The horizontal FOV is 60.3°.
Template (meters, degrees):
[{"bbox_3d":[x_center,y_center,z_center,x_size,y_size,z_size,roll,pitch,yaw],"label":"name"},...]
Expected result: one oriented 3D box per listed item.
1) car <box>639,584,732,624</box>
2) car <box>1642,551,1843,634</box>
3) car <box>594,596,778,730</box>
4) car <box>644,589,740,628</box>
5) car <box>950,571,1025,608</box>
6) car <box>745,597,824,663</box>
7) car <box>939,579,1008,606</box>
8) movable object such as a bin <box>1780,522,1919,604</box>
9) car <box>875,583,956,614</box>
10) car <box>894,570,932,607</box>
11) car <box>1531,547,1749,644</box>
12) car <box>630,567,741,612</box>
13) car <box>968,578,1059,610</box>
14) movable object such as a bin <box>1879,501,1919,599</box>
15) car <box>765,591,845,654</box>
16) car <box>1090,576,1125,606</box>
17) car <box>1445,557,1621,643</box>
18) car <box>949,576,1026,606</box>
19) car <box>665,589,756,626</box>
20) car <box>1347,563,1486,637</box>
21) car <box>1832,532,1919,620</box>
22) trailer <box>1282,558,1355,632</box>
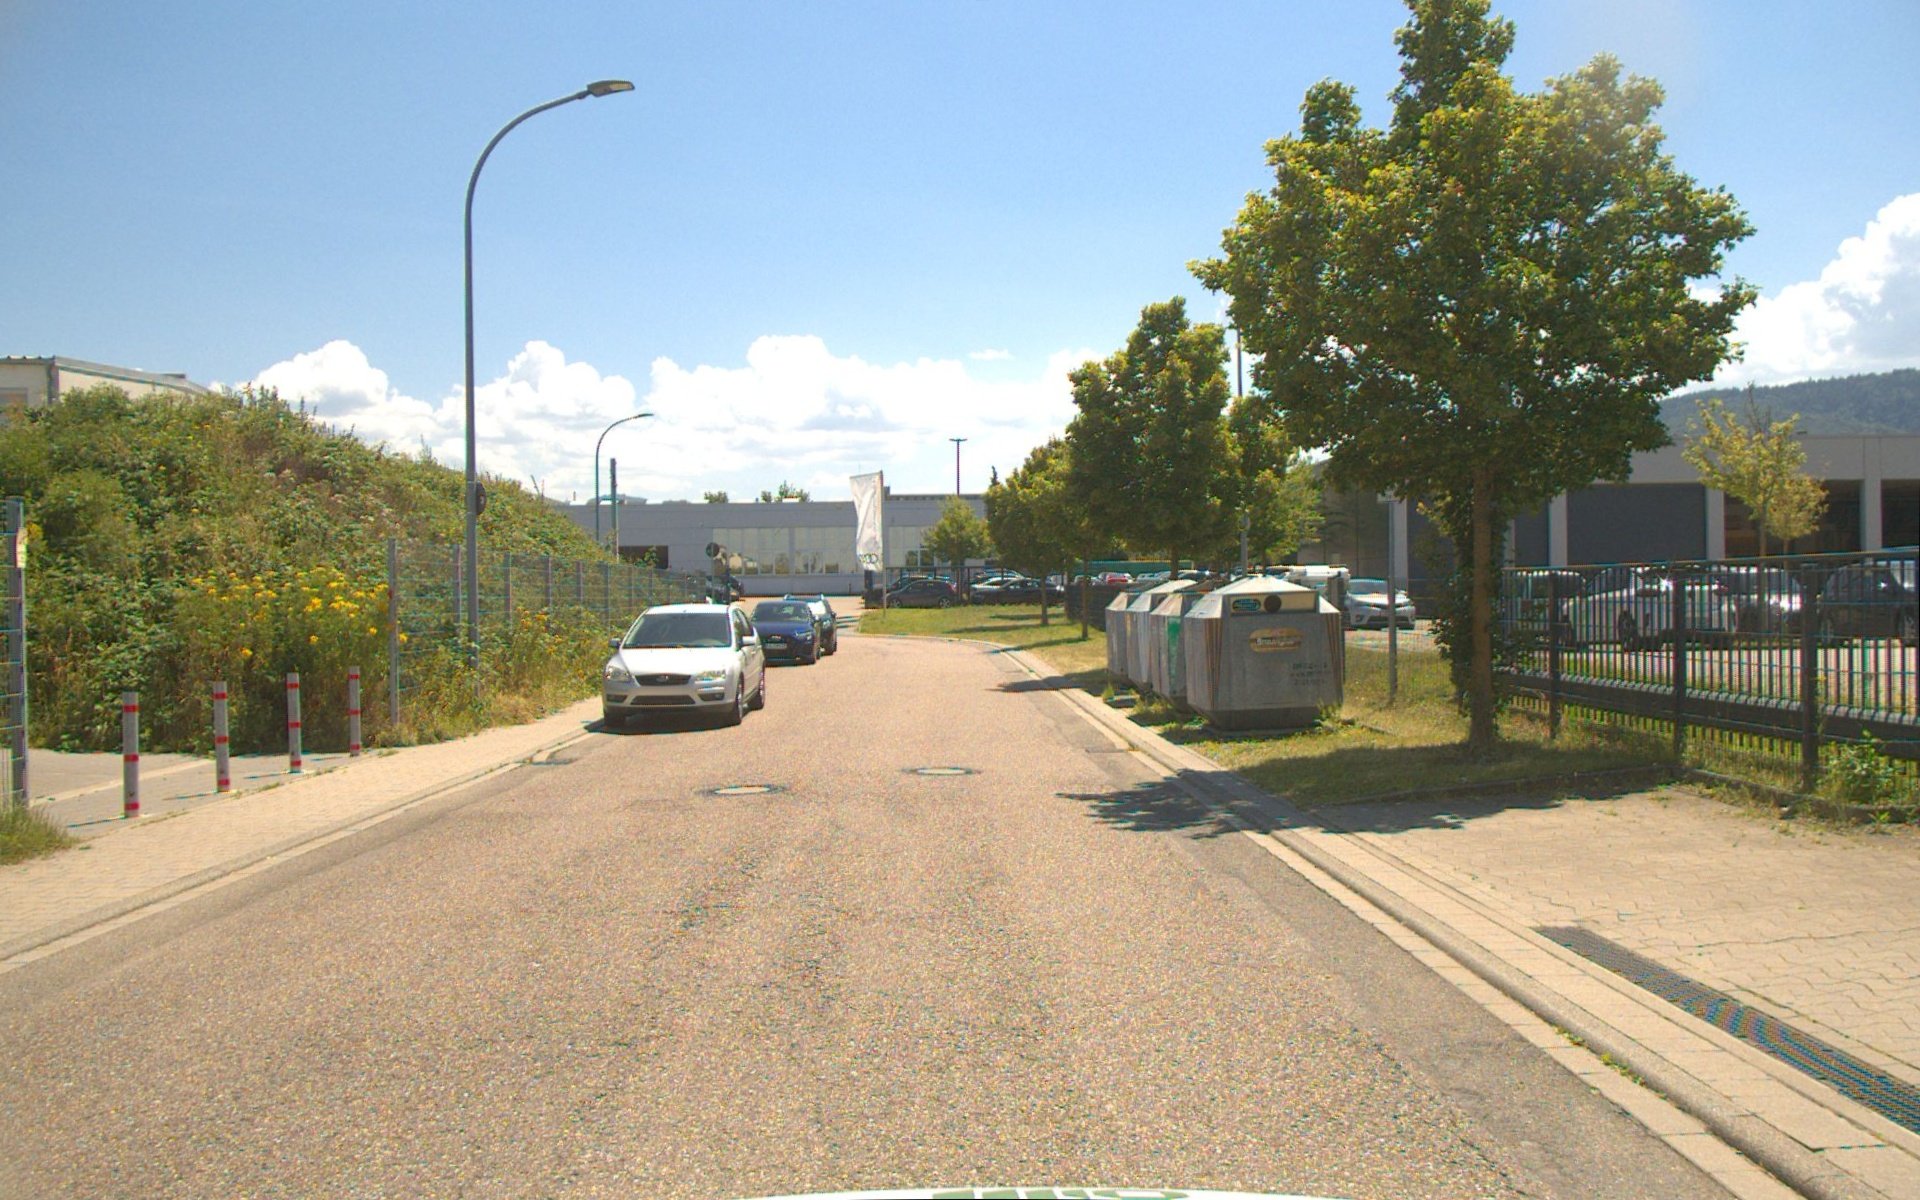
[{"bbox_3d":[-14.150,0.192,85.431,4.494,1.956,1.999,-1,0,-2],"label":"car"},{"bbox_3d":[15.653,-0.203,33.352,1.754,1.507,4.419,-1,2,-3],"label":"car"},{"bbox_3d":[-3.569,0.762,22.296,1.796,1.573,4.366,-1,0,-1],"label":"car"},{"bbox_3d":[-14.260,0.435,88.139,4.785,1.956,1.999,-1,0,-2],"label":"car"},{"bbox_3d":[1.482,-0.559,90.209,3.907,1.859,1.998,-1,-2,-3],"label":"car"},{"bbox_3d":[-4.136,0.679,39.438,1.623,1.442,4.143,-1,0,-3],"label":"car"},{"bbox_3d":[0.758,-0.417,95.516,3.907,1.423,1.998,-1,-2,-3],"label":"car"},{"bbox_3d":[36.550,-1.459,66.263,3.470,3.046,7.316,-1,1,-3],"label":"movable object such as a bin"},{"bbox_3d":[-2.217,-0.067,81.836,3.907,1.423,1.998,-1,-2,-3],"label":"car"},{"bbox_3d":[-2.642,-0.613,91.744,1.954,1.859,3.997,-1,-2,-3],"label":"car"},{"bbox_3d":[11.359,-0.019,27.941,1.754,1.458,4.139,-1,-2,-3],"label":"car"},{"bbox_3d":[-13.735,-0.541,82.842,5.211,2.134,1.999,-1,0,-2],"label":"car"},{"bbox_3d":[2.619,-0.282,81.829,4.350,1.423,1.998,-1,-2,-3],"label":"car"},{"bbox_3d":[41.281,-2.080,66.481,3.470,4.043,8.662,-1,0,-3],"label":"movable object such as a bin"},{"bbox_3d":[-4.132,0.568,44.615,1.796,1.573,4.263,-1,0,-1],"label":"car"},{"bbox_3d":[10.169,-0.604,114.156,1.953,1.859,3.998,-1,-2,-2],"label":"car"},{"bbox_3d":[11.326,-0.058,33.018,1.754,1.557,4.419,-1,2,-3],"label":"car"},{"bbox_3d":[1.425,-0.450,86.609,3.907,1.423,1.998,-1,-2,-3],"label":"car"},{"bbox_3d":[-13.898,0.392,92.273,4.785,1.956,1.999,-1,0,-2],"label":"car"},{"bbox_3d":[11.067,0.049,40.387,1.843,1.549,4.464,-1,-2,-4],"label":"car"},{"bbox_3d":[27.427,-0.703,47.058,1.843,2.303,5.651,-1,-2,-4],"label":"car"},{"bbox_3d":[10.683,-0.185,49.413,1.462,2.041,3.265,-2,3,0],"label":"trailer"}]
